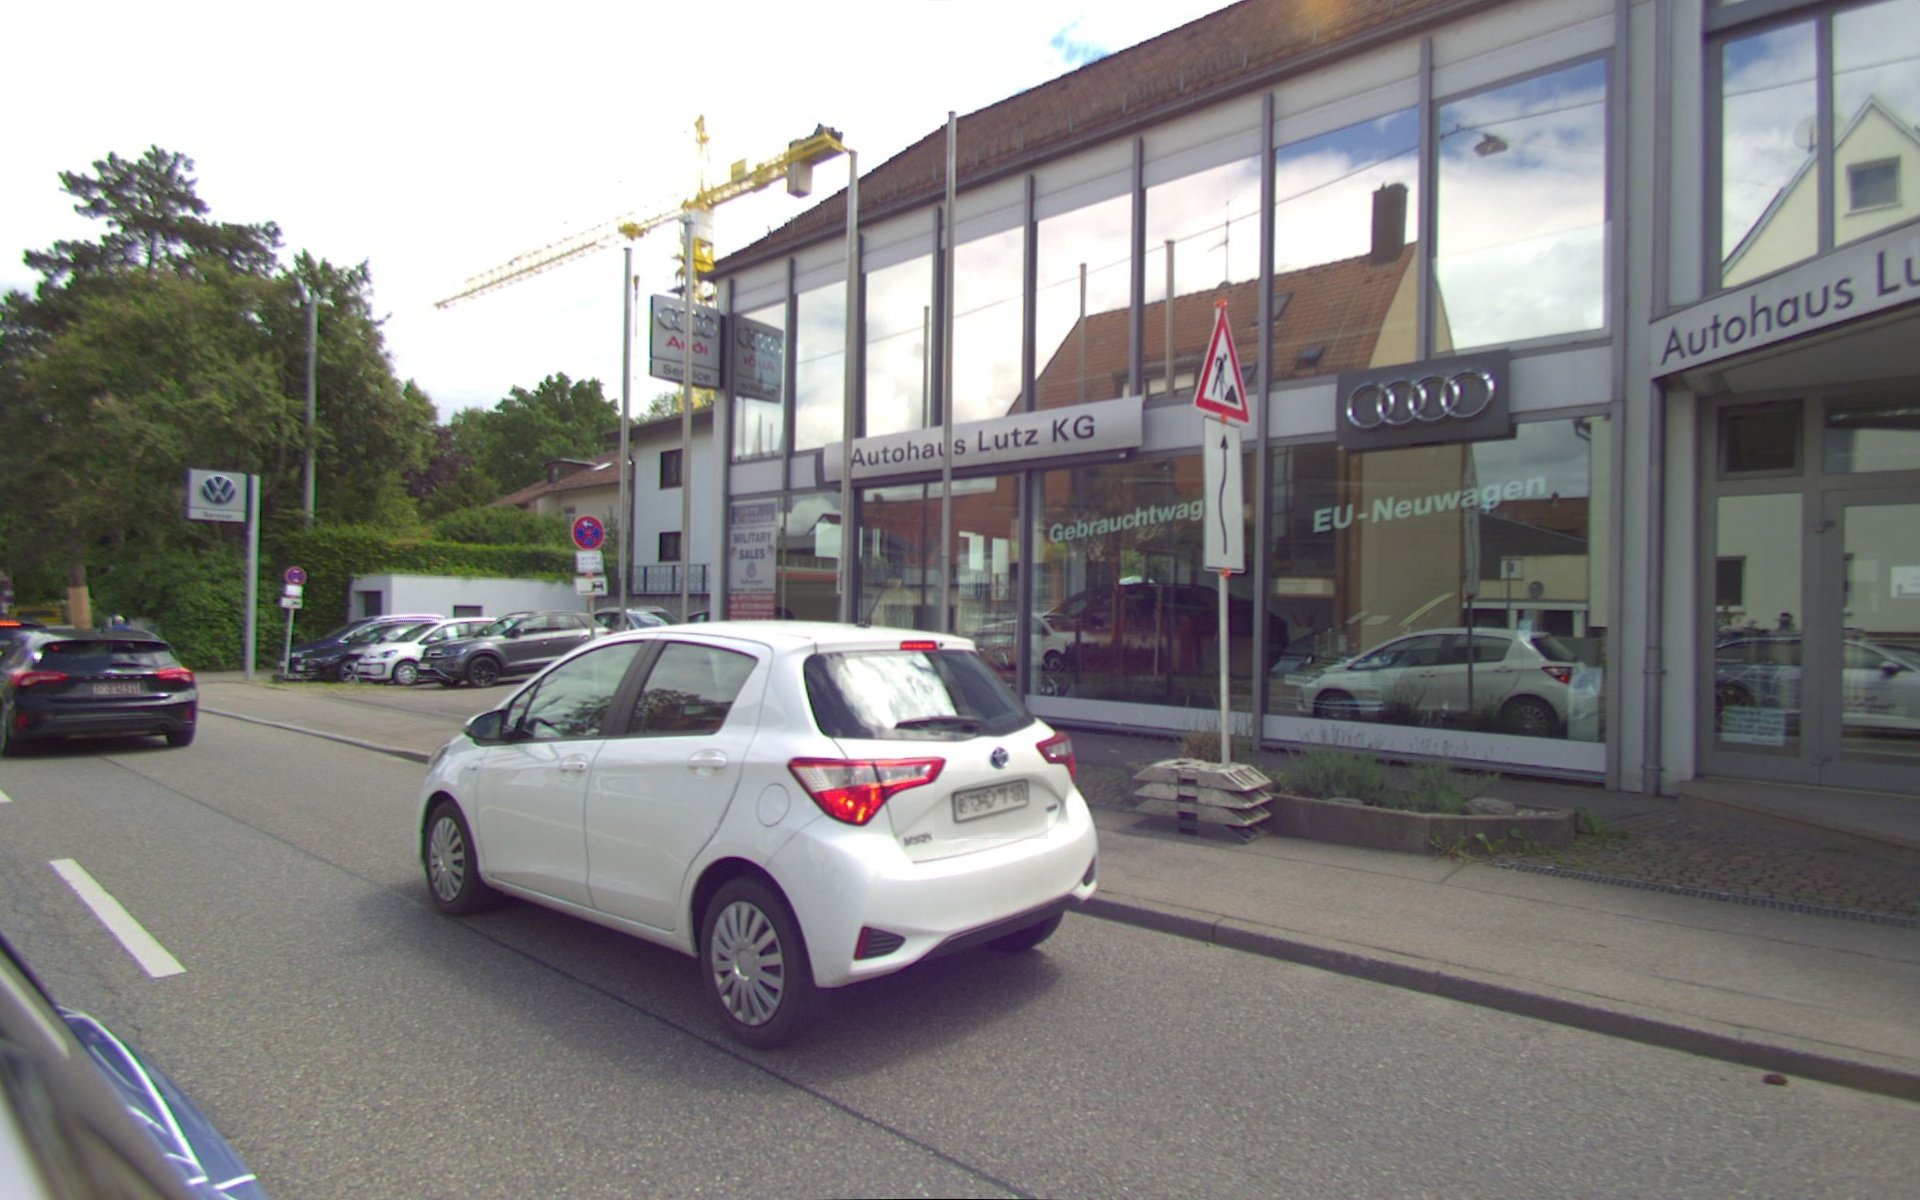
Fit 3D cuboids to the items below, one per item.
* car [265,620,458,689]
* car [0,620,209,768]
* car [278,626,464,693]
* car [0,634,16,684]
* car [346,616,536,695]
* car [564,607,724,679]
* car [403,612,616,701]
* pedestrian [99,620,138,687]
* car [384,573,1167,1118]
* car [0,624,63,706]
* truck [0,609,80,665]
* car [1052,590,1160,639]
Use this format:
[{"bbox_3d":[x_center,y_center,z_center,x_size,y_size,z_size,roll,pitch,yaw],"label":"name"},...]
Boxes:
[{"bbox_3d":[-16.542,1.438,28.127,1.903,1.653,4.244,-2,-1,41],"label":"car"},{"bbox_3d":[-11.123,1.033,12.708,4.167,1.535,1.812,0,-1,40],"label":"car"},{"bbox_3d":[-14.785,1.437,25.549,1.727,1.530,3.702,-2,-2,39],"label":"car"},{"bbox_3d":[-29.592,1.724,30.139,4.522,1.440,1.722,-1,-3,42],"label":"car"},{"bbox_3d":[-12.317,1.259,24.182,1.533,1.572,3.703,-2,0,39],"label":"car"},{"bbox_3d":[-8.009,1.076,25.463,4.325,1.597,1.788,-3,0,41],"label":"car"},{"bbox_3d":[-9.858,1.162,22.394,1.652,1.643,3.973,-2,0,39],"label":"car"},{"bbox_3d":[-22.778,1.426,27.381,0.868,1.750,0.675,0,0,41],"label":"pedestrian"},{"bbox_3d":[-1.108,0.744,4.849,3.797,1.591,1.672,-1,-1,41],"label":"car"},{"bbox_3d":[-20.764,1.355,21.634,4.318,1.642,1.812,-2,-2,41],"label":"car"},{"bbox_3d":[-43.714,1.694,48.029,6.093,2.438,2.281,0,0,43],"label":"truck"},{"bbox_3d":[5.021,0.470,34.562,1.857,1.454,3.752,-3,0,41],"label":"car"}]
